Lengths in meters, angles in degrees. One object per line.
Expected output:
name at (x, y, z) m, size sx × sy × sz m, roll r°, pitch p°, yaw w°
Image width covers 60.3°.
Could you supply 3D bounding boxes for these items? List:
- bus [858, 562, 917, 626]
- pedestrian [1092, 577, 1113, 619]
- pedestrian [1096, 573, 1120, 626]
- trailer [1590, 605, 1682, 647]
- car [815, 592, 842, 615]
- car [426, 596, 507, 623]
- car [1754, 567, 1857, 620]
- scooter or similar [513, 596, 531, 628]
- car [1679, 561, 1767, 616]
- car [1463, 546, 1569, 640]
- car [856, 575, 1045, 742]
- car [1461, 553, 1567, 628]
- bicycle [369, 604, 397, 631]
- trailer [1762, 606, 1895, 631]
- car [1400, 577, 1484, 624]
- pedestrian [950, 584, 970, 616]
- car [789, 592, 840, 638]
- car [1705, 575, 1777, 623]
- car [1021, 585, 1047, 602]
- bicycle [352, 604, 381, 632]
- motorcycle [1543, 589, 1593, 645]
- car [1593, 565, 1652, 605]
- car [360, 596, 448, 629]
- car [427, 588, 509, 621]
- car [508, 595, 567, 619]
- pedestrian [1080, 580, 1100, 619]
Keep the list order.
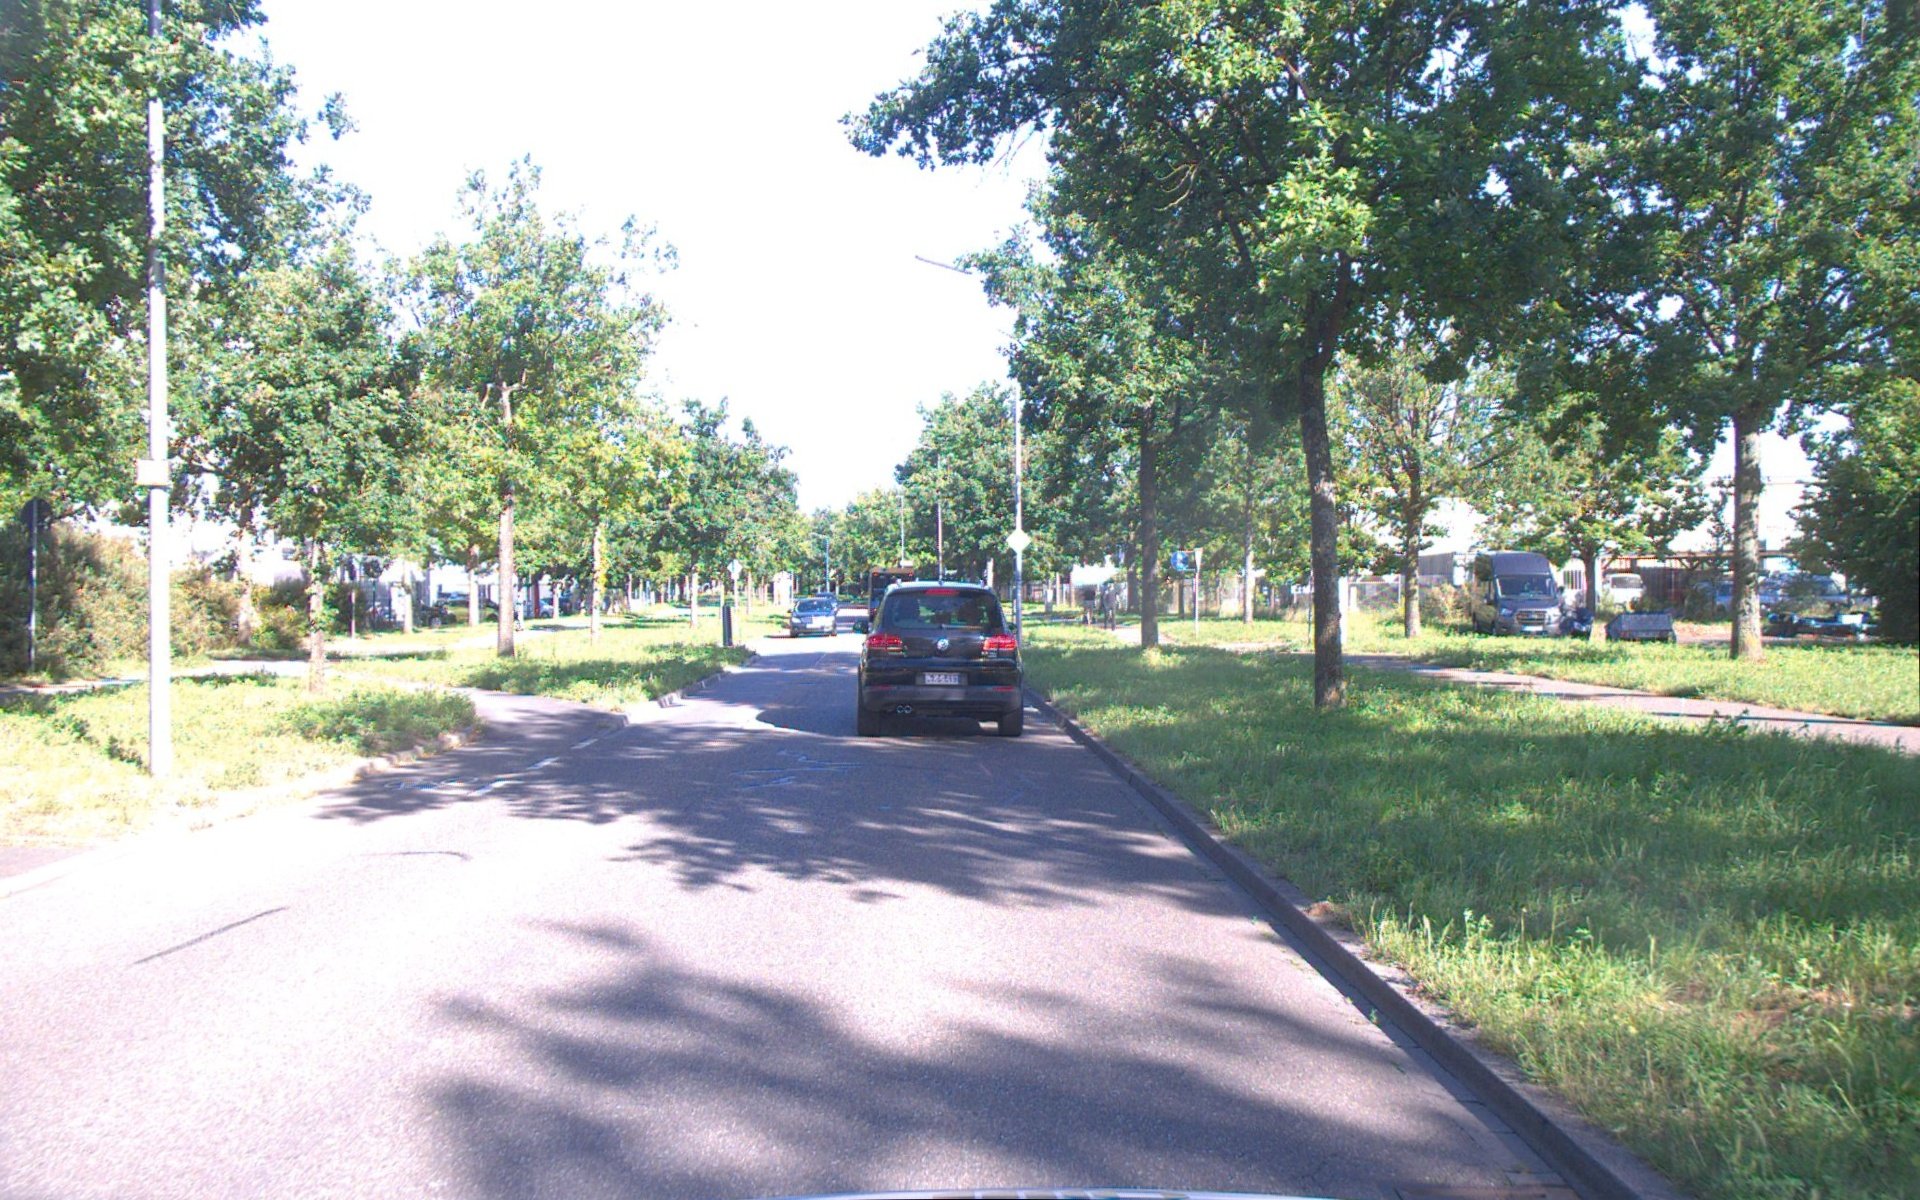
bus at (-4.386, -0.404, 97.867) m, size 2.711 × 3.517 × 11.195 m, roll -1°, pitch 1°, yaw -7°
pedestrian at (6.094, -0.090, 70.615) m, size 0.711 × 1.785 × 0.867 m, roll -3°, pitch 0°, yaw -4°
pedestrian at (5.217, -0.025, 58.250) m, size 0.711 × 1.843 × 0.867 m, roll -1°, pitch 3°, yaw -4°
trailer at (15.948, 0.633, 39.092) m, size 1.545 × 0.883 × 2.055 m, roll -1°, pitch -4°, yaw 9°
car at (-9.382, 0.239, 118.221) m, size 1.769 × 1.563 × 4.492 m, roll -2°, pitch 1°, yaw -4°
car at (-27.889, 0.512, 93.550) m, size 1.967 × 1.426 × 3.926 m, roll -1°, pitch 1°, yaw 44°
car at (30.961, -0.254, 60.697) m, size 1.951 × 1.855 × 4.002 m, roll -1°, pitch 0°, yaw 4°
scooter or similar at (-18.197, 0.476, 68.745) m, size 0.387 × 1.301 × 1.440 m, roll -1°, pitch 0°, yaw -3°
car at (32.765, -0.538, 71.146) m, size 2.040 × 2.097 × 5.019 m, roll 1°, pitch 3°, yaw 8°
car at (17.184, -0.307, 51.405) m, size 2.040 × 2.610 × 5.979 m, roll 1°, pitch 3°, yaw 8°
car at (-0.231, 0.567, 19.051) m, size 1.898 × 1.685 × 4.424 m, roll 1°, pitch 1°, yaw -4°
car at (20.781, -0.363, 62.252) m, size 2.117 × 2.689 × 4.848 m, roll -1°, pitch 0°, yaw -3°
bicycle at (-24.568, 0.730, 70.496) m, size 0.626 × 1.106 × 1.890 m, roll -1°, pitch 0°, yaw -4°
trailer at (26.690, 0.565, 51.010) m, size 2.180 × 0.662 × 4.826 m, roll -1°, pitch 0°, yaw 9°
car at (18.212, -0.010, 62.686) m, size 1.965 × 1.693 × 3.594 m, roll -1°, pitch 0°, yaw -3°
pedestrian at (-0.012, -0.003, 89.896) m, size 0.999 × 1.680 × 1.099 m, roll -1°, pitch 0°, yaw -4°
car at (-5.440, 0.519, 62.234) m, size 1.730 × 1.555 × 4.492 m, roll -2°, pitch 1°, yaw -4°
car at (28.335, -0.069, 60.120) m, size 1.796 × 1.668 × 4.002 m, roll -1°, pitch 0°, yaw 17°
car at (8.427, -0.757, 188.478) m, size 2.144 × 1.774 × 4.632 m, roll -1°, pitch 1°, yaw -9°
bicycle at (-24.787, 0.736, 69.071) m, size 0.626 × 1.106 × 1.890 m, roll -1°, pitch 0°, yaw -4°
motorcycle at (15.051, 0.439, 40.987) m, size 0.648 × 1.253 × 2.408 m, roll -1°, pitch -4°, yaw 8°
car at (28.594, -0.656, 71.498) m, size 1.796 × 1.668 × 4.003 m, roll -1°, pitch 0°, yaw 14°
car at (-28.364, 0.637, 84.339) m, size 3.950 × 1.537 × 1.781 m, roll -1°, pitch 2°, yaw -33°
car at (-32.095, 0.289, 107.927) m, size 1.966 × 2.049 × 4.825 m, roll -1°, pitch 1°, yaw 44°
car at (-30.455, 0.503, 119.307) m, size 3.662 × 1.646 × 1.965 m, roll -1°, pitch 0°, yaw 11°
pedestrian at (5.461, -0.022, 69.696) m, size 0.711 × 1.631 × 0.867 m, roll -1°, pitch 0°, yaw -4°
